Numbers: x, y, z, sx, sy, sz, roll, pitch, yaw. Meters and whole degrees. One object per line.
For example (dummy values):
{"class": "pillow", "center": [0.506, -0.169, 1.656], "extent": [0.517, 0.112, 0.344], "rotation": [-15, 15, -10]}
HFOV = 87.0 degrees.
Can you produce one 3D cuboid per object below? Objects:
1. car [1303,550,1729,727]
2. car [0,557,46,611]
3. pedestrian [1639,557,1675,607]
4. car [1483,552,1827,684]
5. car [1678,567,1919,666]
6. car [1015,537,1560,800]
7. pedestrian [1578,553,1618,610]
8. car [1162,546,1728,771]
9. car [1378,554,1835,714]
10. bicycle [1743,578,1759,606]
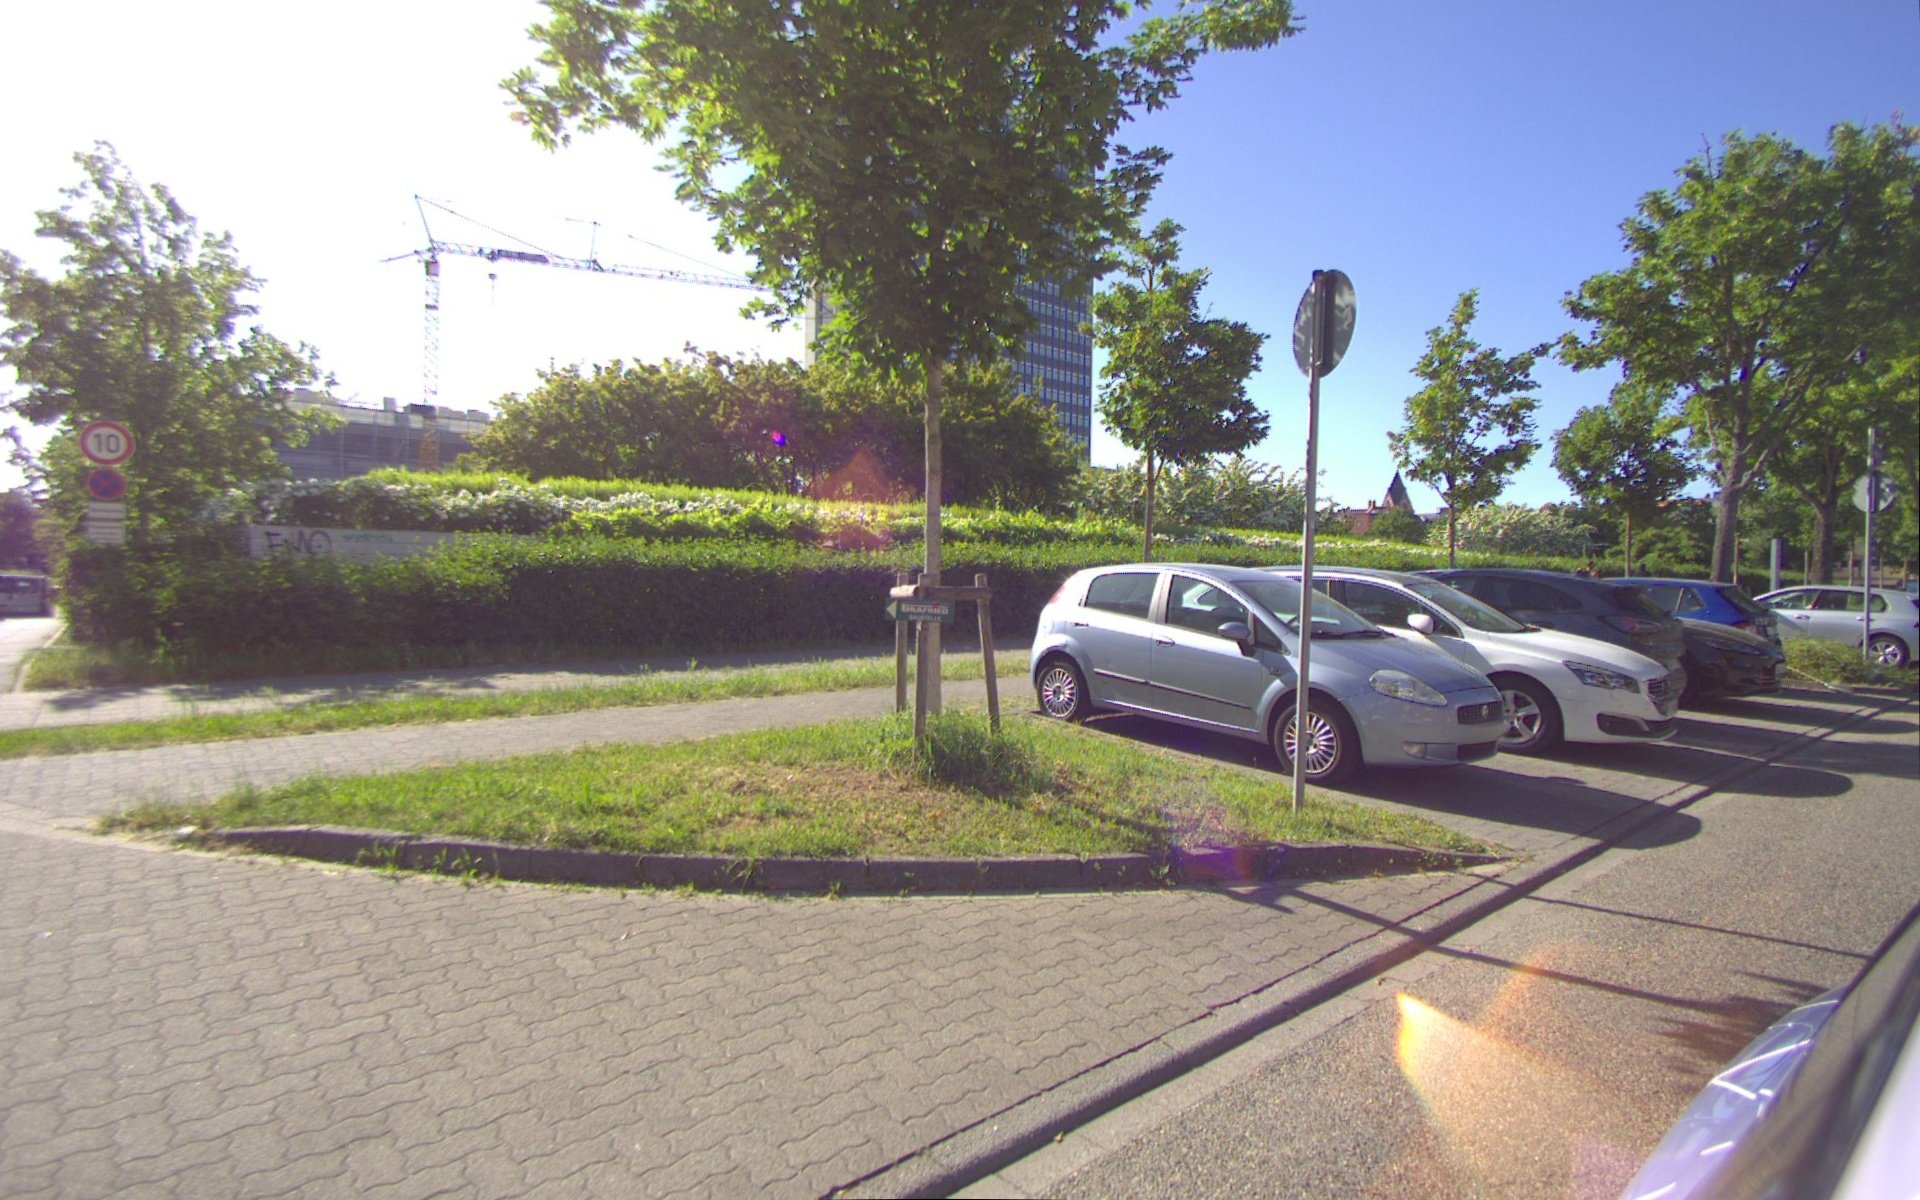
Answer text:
{"class": "car", "center": [6.180, 0.277, 11.629], "extent": [1.720, 1.533, 3.886], "rotation": [-1, 5, -40]}
{"class": "car", "center": [-39.691, -0.718, 42.511], "extent": [1.892, 2.135, 3.993], "rotation": [-1, 2, -42]}
{"class": "pedestrian", "center": [22.727, -0.592, 33.017], "extent": [0.837, 1.607, 0.725], "rotation": [0, 2, -39]}
{"class": "car", "center": [10.169, 0.146, 15.059], "extent": [1.713, 1.465, 3.818], "rotation": [-1, 6, -38]}
{"class": "car", "center": [16.423, 0.258, 19.280], "extent": [1.611, 1.446, 4.108], "rotation": [0, 6, -33]}
{"class": "car", "center": [2.414, 0.318, 8.323], "extent": [1.671, 1.533, 3.959], "rotation": [-1, 5, -39]}
{"class": "pedestrian", "center": [17.792, -0.510, 28.209], "extent": [0.920, 1.561, 0.608], "rotation": [0, 2, -37]}
{"class": "car", "center": [4.470, 0.328, 9.862], "extent": [4.552, 1.533, 1.951], "rotation": [6, 5, 44]}
{"class": "car", "center": [8.206, 0.261, 13.230], "extent": [2.120, 1.533, 4.562], "rotation": [-1, 5, -40]}
{"class": "bicycle", "center": [25.424, -0.270, 32.545], "extent": [0.345, 0.877, 1.391], "rotation": [3, 3, 37]}
